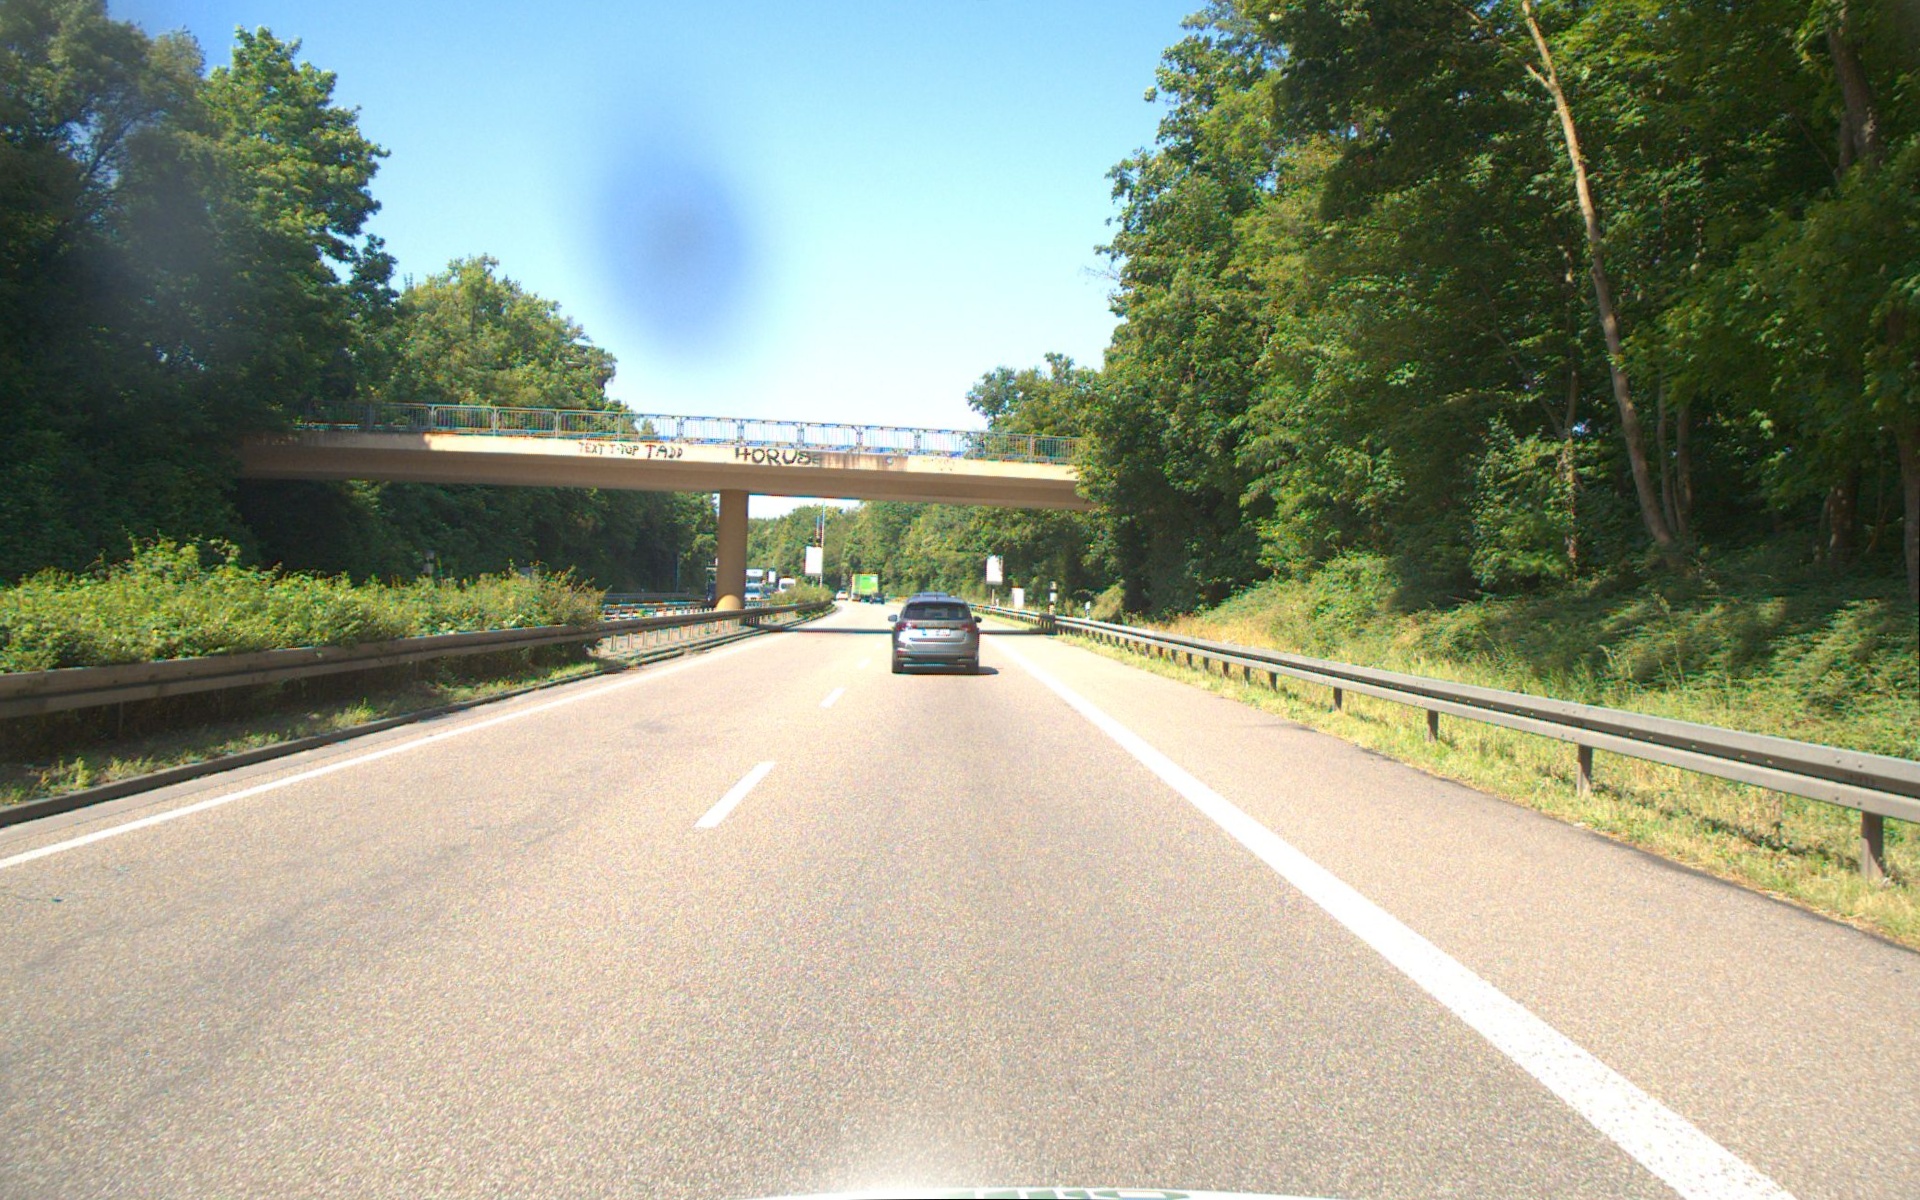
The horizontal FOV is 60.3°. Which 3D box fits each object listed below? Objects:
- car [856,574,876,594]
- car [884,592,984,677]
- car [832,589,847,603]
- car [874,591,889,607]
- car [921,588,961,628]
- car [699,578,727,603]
[{"bbox_3d":[-13.434,-2.286,236.401,2.693,2.700,3.999,1,0,-1],"label":"car"},{"bbox_3d":[-0.455,0.621,32.044,1.802,1.497,3.624,1,1,1],"label":"car"},{"bbox_3d":[-18.055,-0.532,248.702,1.953,2.049,3.999,1,0,-1],"label":"car"},{"bbox_3d":[-9.915,-0.143,209.189,1.727,2.049,3.586,1,0,-1],"label":"car"},{"bbox_3d":[-0.726,0.294,65.035,1.491,1.472,3.340,1,1,1],"label":"car"},{"bbox_3d":[-20.428,-0.783,137.128,1.742,2.049,3.999,1,0,-1],"label":"car"}]
